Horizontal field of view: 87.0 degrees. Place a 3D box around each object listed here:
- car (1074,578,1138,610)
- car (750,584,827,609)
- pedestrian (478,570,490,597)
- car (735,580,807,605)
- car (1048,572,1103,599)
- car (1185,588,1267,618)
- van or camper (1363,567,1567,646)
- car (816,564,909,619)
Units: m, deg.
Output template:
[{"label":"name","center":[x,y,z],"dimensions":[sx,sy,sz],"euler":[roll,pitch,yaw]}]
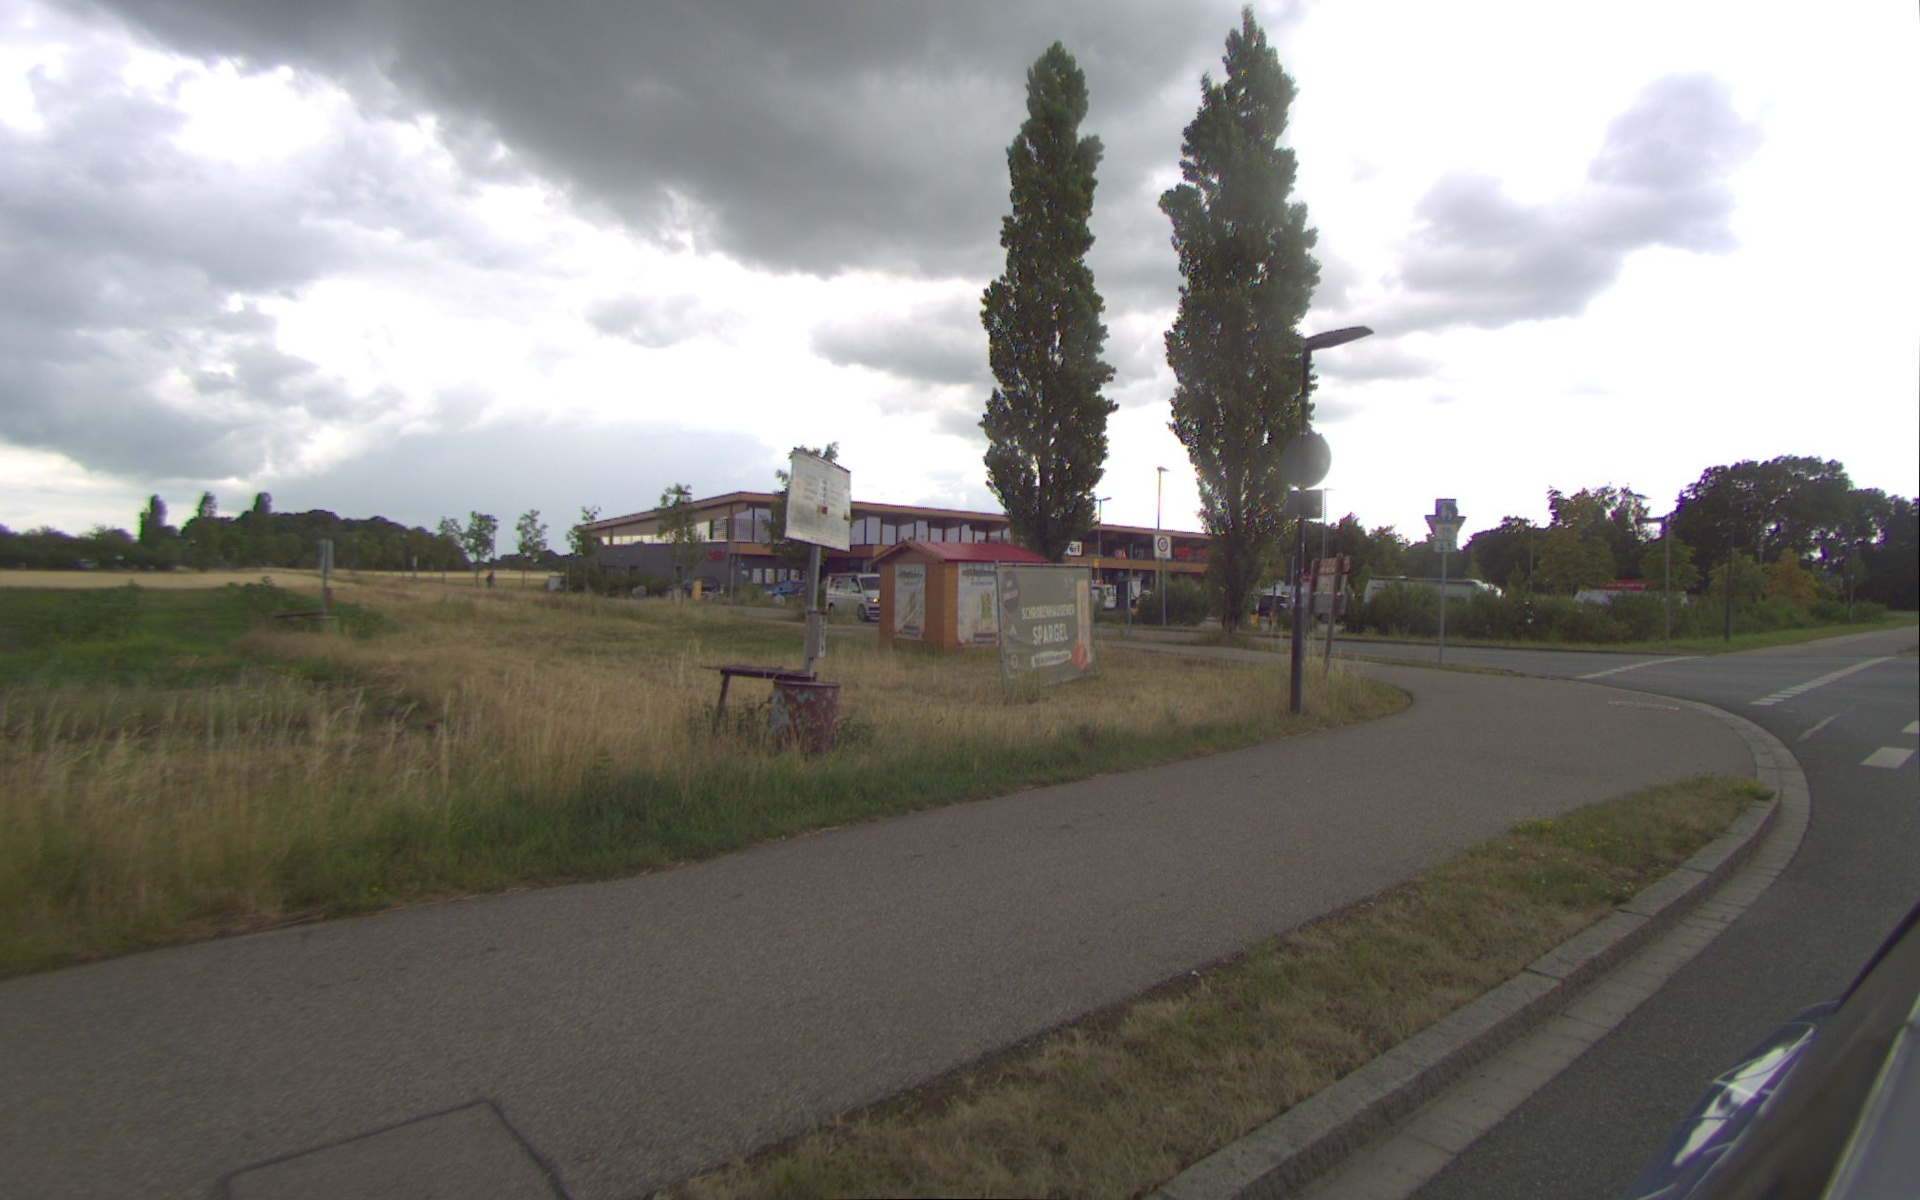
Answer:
[{"label":"car","center":[10.009,-0.430,69.566],"dimensions":[2.004,1.934,3.900],"euler":[0,3,-42]},{"label":"car","center":[-10.312,-0.226,60.984],"dimensions":[4.181,1.365,1.837],"euler":[0,3,-40]},{"label":"pedestrian","center":[-31.987,-1.111,68.051],"dimensions":[0.589,1.783,0.483],"euler":[1,3,-41]},{"label":"car","center":[-12.301,-0.481,65.897],"dimensions":[4.125,1.427,1.999],"euler":[0,3,-40]},{"label":"car","center":[8.830,-1.127,77.610],"dimensions":[1.909,1.771,4.001],"euler":[1,3,-36]},{"label":"car","center":[15.357,0.136,58.535],"dimensions":[1.869,1.450,4.185],"euler":[0,3,-42]},{"label":"van or camper","center":[18.987,0.139,38.380],"dimensions":[2.243,2.494,6.477],"euler":[0,3,-43]},{"label":"car","center":[-4.280,-0.407,43.486],"dimensions":[1.960,2.038,5.242],"euler":[1,3,-30]}]
